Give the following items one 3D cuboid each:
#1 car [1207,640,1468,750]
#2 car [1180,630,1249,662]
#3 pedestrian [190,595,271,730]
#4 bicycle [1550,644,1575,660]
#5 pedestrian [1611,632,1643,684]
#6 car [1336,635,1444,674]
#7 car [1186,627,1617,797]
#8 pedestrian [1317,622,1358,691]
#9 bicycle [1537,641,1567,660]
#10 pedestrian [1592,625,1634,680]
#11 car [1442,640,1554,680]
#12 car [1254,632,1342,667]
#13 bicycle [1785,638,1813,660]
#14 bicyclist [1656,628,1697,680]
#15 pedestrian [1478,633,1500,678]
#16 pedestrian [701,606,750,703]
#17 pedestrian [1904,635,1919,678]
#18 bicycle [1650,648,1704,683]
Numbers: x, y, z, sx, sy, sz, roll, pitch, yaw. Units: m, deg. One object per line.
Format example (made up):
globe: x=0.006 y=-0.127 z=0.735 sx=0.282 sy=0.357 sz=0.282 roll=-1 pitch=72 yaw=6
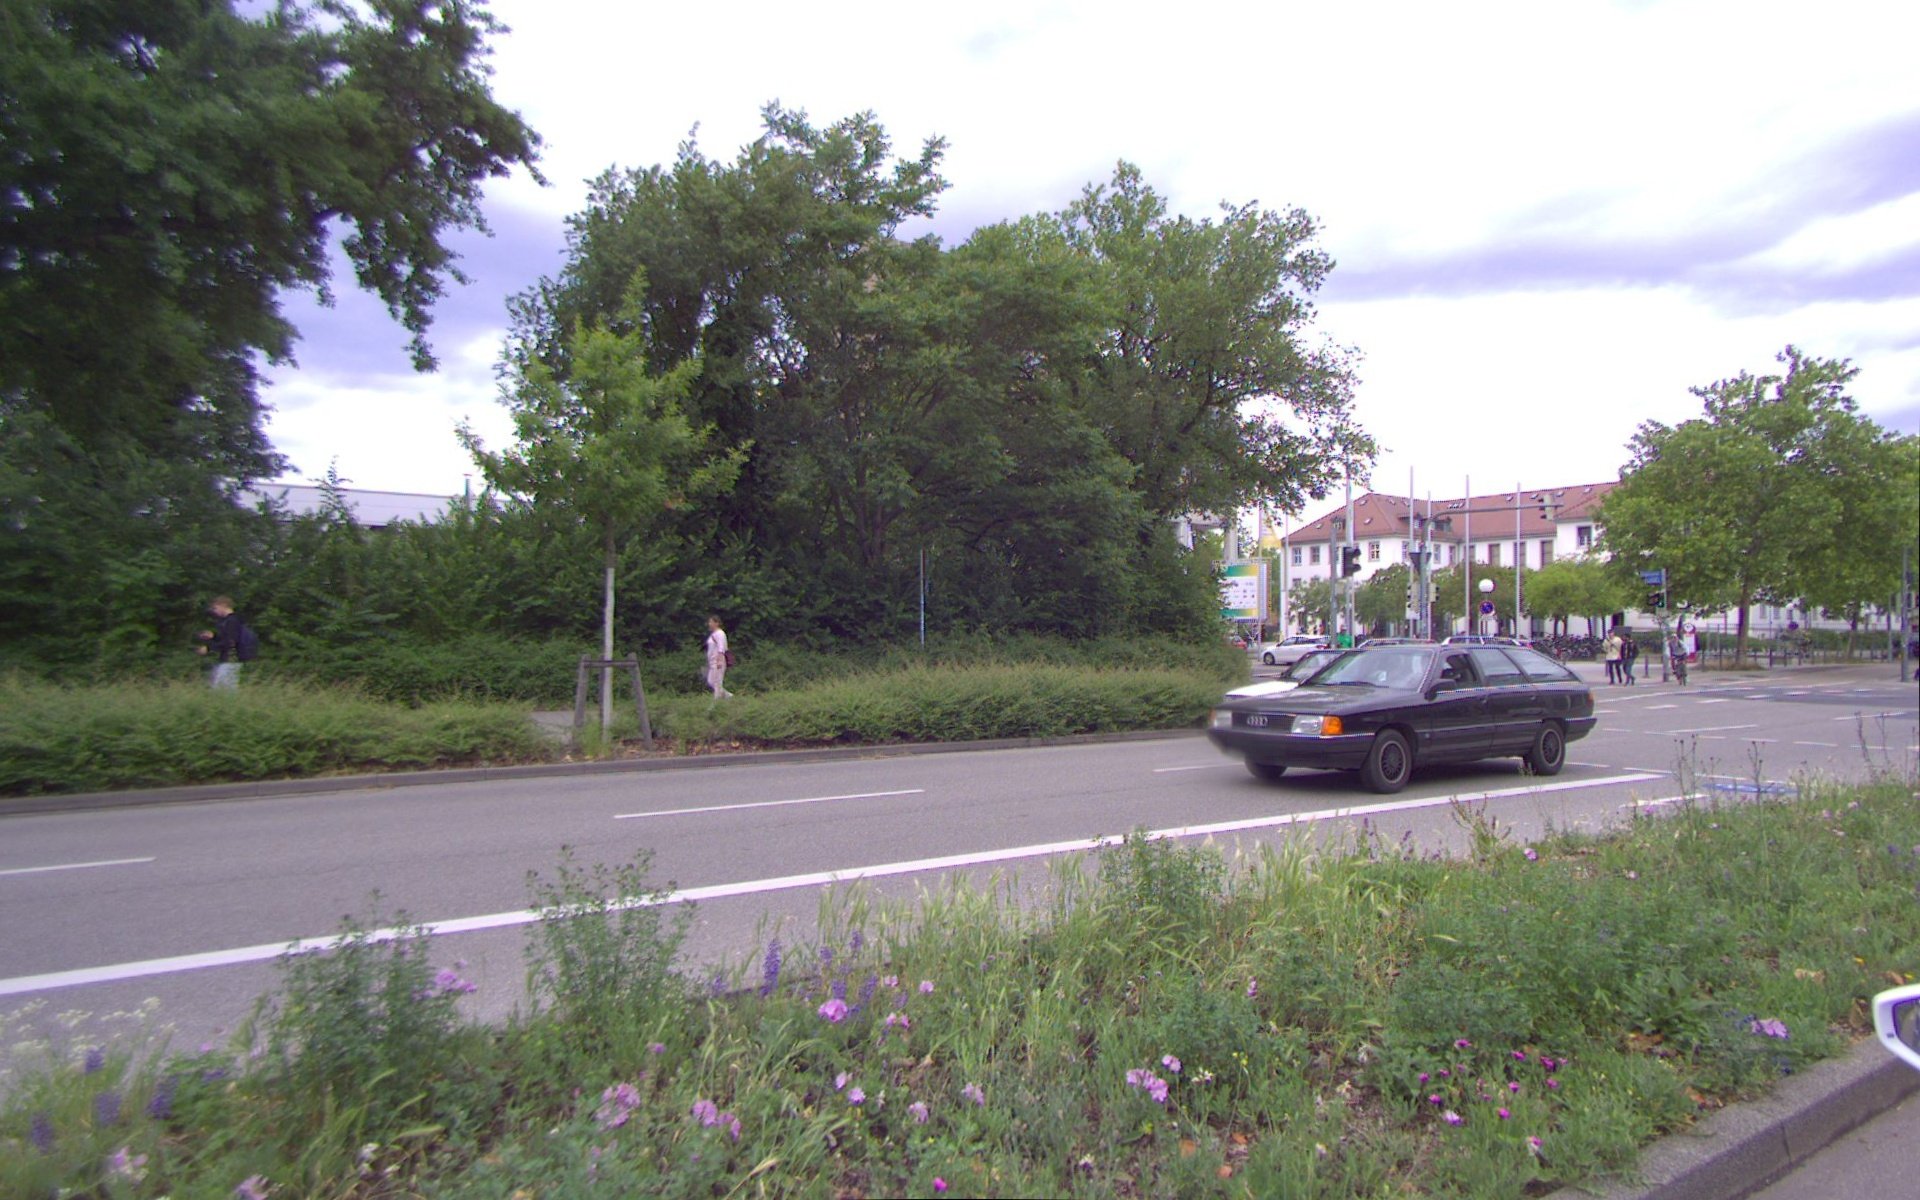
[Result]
car: x=5.634 y=1.329 z=14.905 sx=3.763 sy=1.399 sz=1.601 roll=1 pitch=-3 yaw=-30
car: x=13.352 y=2.408 z=52.797 sx=1.547 sy=1.499 sz=3.323 roll=1 pitch=0 yaw=-36
pedestrian: x=-9.797 y=0.829 z=13.517 sx=0.808 sy=1.752 sz=0.617 roll=0 pitch=-2 yaw=-30
bicycle: x=34.622 y=2.981 z=57.733 sx=1.191 sy=0.892 sz=0.263 roll=-3 pitch=-3 yaw=38
pedestrian: x=21.114 y=1.838 z=31.787 sx=0.780 sy=1.578 sz=0.696 roll=0 pitch=-4 yaw=40
car: x=18.654 y=2.329 z=43.680 sx=4.007 sy=1.472 sz=1.613 roll=-2 pitch=3 yaw=43
car: x=4.797 y=1.087 z=10.721 sx=4.735 sy=1.479 sz=1.756 roll=2 pitch=-4 yaw=-30
pedestrian: x=10.219 y=1.514 z=27.217 sx=0.924 sy=1.782 sz=0.876 roll=2 pitch=0 yaw=16
bicycle: x=33.881 y=2.895 z=57.496 sx=1.385 sy=1.066 sz=0.586 roll=-3 pitch=-3 yaw=41
pedestrian: x=21.718 y=1.744 z=33.426 sx=0.817 sy=1.761 sz=0.840 roll=4 pitch=-5 yaw=-15
car: x=21.584 y=2.369 z=40.421 sx=1.548 sy=1.240 sz=3.631 roll=-8 pitch=4 yaw=-35
car: x=16.313 y=2.358 z=48.664 sx=1.667 sy=1.560 sz=3.857 roll=-2 pitch=0 yaw=-32
bicycle: x=42.888 y=2.500 z=51.341 sx=2.025 sy=1.074 sz=0.603 roll=1 pitch=-3 yaw=-37
bicyclist: x=23.357 y=1.754 z=32.759 sx=0.947 sy=1.657 sz=0.665 roll=2 pitch=0 yaw=-22
pedestrian: x=18.737 y=1.979 z=35.578 sx=0.563 sy=1.545 sz=0.846 roll=-1 pitch=-6 yaw=36
pedestrian: x=-4.115 y=0.945 z=17.607 sx=0.663 sy=1.657 sz=0.697 roll=0 pitch=-2 yaw=-30
pedestrian: x=35.510 y=2.080 z=37.067 sx=0.538 sy=1.607 sz=0.868 roll=1 pitch=-3 yaw=-36
bicycle: x=23.396 y=2.143 z=32.781 sx=1.596 sy=1.076 sz=0.665 roll=2 pitch=-1 yaw=-22
